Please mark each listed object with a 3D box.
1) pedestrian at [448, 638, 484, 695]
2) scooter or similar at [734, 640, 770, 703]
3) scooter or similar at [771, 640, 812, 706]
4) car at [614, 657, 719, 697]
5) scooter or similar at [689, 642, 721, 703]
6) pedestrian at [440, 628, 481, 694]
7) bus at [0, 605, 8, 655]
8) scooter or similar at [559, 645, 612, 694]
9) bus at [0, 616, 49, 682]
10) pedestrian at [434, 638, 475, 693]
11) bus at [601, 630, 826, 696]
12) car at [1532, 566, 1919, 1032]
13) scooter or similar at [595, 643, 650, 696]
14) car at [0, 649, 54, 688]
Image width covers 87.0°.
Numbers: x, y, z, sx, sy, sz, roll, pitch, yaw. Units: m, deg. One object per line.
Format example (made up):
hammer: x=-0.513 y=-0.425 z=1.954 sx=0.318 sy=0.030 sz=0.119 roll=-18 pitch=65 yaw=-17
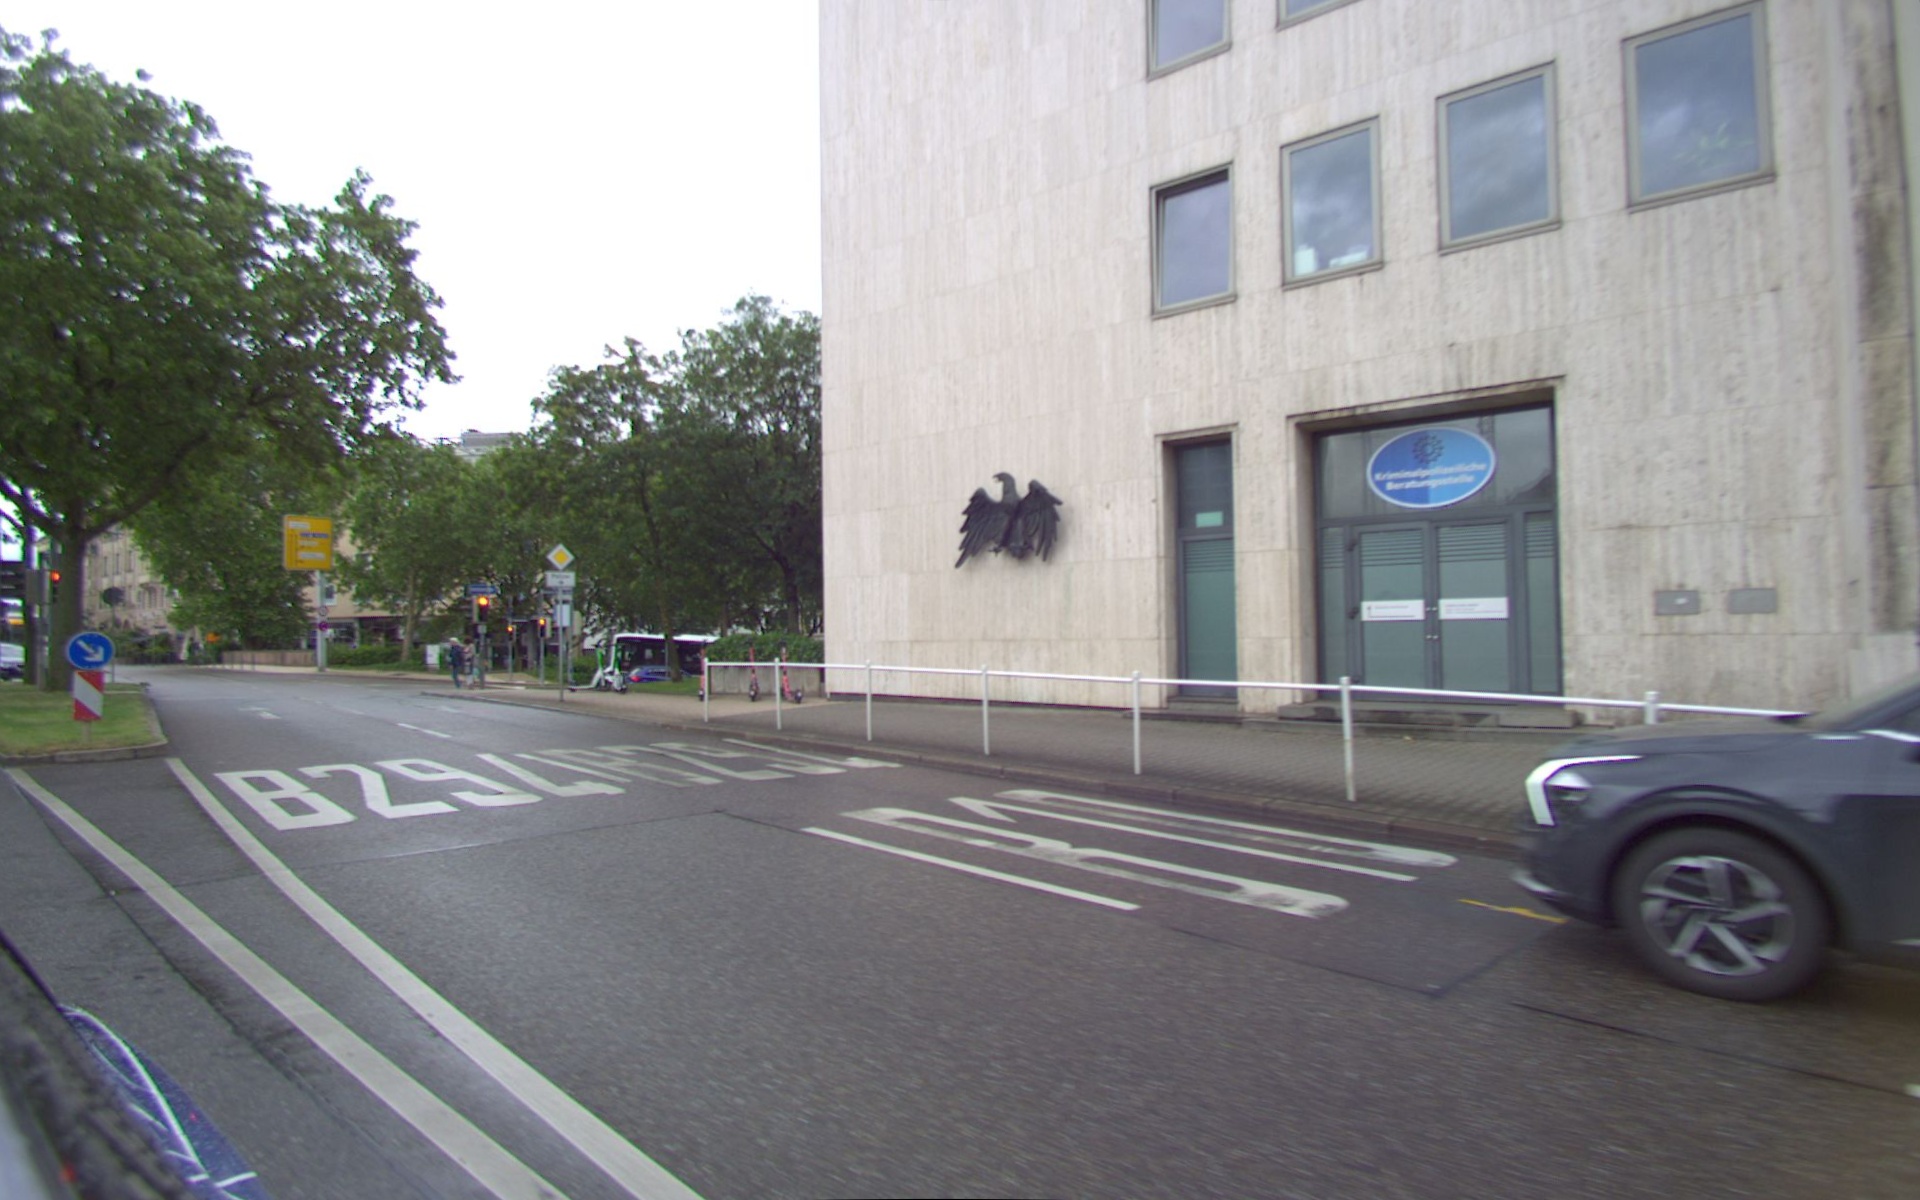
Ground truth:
pedestrian: x=-15.221 y=2.053 z=31.215 sx=0.795 sy=1.723 sz=0.648 roll=-2 pitch=-4 yaw=34
scooter or similar: x=-4.121 y=1.394 z=20.022 sx=0.599 sy=1.201 sz=1.532 roll=1 pitch=-3 yaw=-15
scooter or similar: x=-3.188 y=1.358 z=19.080 sx=0.599 sy=1.173 sz=1.532 roll=1 pitch=-3 yaw=-15
car: x=-12.416 y=3.233 z=42.853 sx=4.031 sy=1.519 sz=1.853 roll=0 pitch=-2 yaw=-26
scooter or similar: x=-5.231 y=1.463 z=20.749 sx=0.599 sy=1.201 sz=1.532 roll=1 pitch=-3 yaw=-15
pedestrian: x=-15.925 y=1.939 z=32.265 sx=0.923 sy=2.061 sz=0.874 roll=4 pitch=-4 yaw=-41
bus: x=-65.452 y=1.988 z=66.902 sx=8.837 sy=3.156 sz=2.724 roll=-1 pitch=-2 yaw=41
scooter or similar: x=-9.146 y=1.687 z=24.691 sx=1.500 sy=1.176 sz=0.483 roll=-2 pitch=-4 yaw=38
bus: x=-55.411 y=2.840 z=58.109 sx=12.550 sy=3.466 sz=2.925 roll=-3 pitch=-4 yaw=41
pedestrian: x=-15.040 y=1.939 z=30.106 sx=0.921 sy=1.615 sz=0.648 roll=-2 pitch=-4 yaw=30
bus: x=-13.667 y=3.607 z=56.821 sx=11.766 sy=3.042 sz=2.898 roll=5 pitch=-5 yaw=-27
car: x=4.746 y=0.723 z=3.669 sx=4.338 sy=1.673 sz=1.801 roll=-2 pitch=-4 yaw=44
scooter or similar: x=-7.882 y=1.601 z=23.588 sx=0.563 sy=1.201 sz=1.575 roll=3 pitch=-4 yaw=-45
car: x=-36.819 y=2.590 z=38.611 sx=4.390 sy=1.420 sz=1.805 roll=-1 pitch=-4 yaw=26
